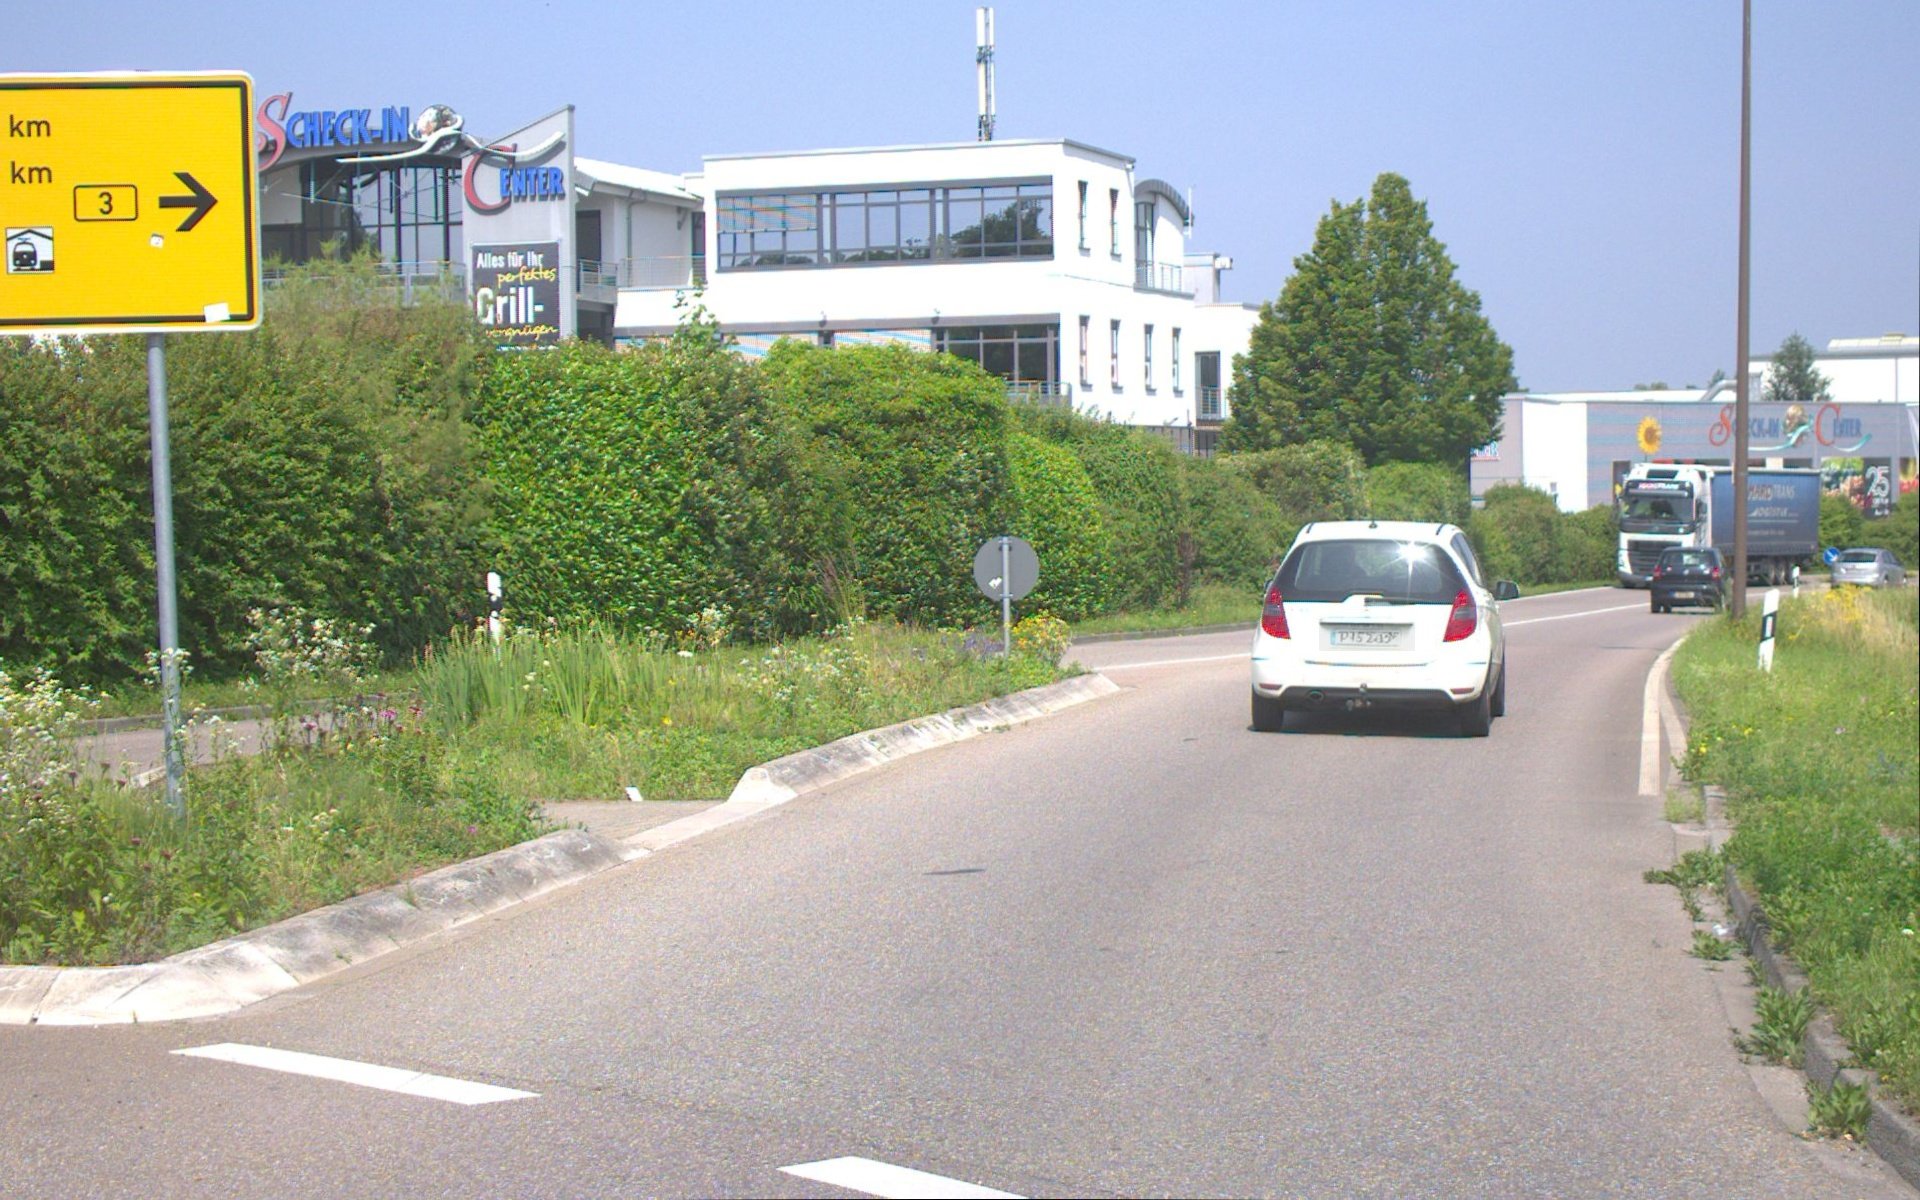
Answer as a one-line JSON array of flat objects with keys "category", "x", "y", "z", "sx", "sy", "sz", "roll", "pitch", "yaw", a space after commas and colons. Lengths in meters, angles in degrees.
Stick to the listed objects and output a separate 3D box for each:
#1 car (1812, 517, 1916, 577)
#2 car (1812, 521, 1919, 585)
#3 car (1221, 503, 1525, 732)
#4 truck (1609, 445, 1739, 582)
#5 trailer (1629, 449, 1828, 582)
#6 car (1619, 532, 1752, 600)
[{"category": "car", "x": 31.417, "y": -1.850, "z": 119.467, "sx": 1.998, "sy": 2.007, "sz": 3.991, "roll": 2, "pitch": 1, "yaw": 39}, {"category": "car", "x": 29.704, "y": -1.513, "z": 111.851, "sx": 3.989, "sy": 2.007, "sz": 1.999, "roll": 0, "pitch": 1, "yaw": -45}, {"category": "car", "x": 3.284, "y": 0.089, "z": 26.734, "sx": 1.782, "sy": 1.598, "sz": 3.890, "roll": 2, "pitch": 1, "yaw": 15}, {"category": "truck", "x": 22.985, "y": -2.735, "z": 110.495, "sx": 2.517, "sy": 4.243, "sz": 6.104, "roll": 0, "pitch": 1, "yaw": 27}, {"category": "trailer", "x": 26.240, "y": -2.770, "z": 116.674, "sx": 2.674, "sy": 4.226, "sz": 14.543, "roll": 2, "pitch": 1, "yaw": 28}, {"category": "car", "x": 16.572, "y": -0.771, "z": 78.416, "sx": 1.831, "sy": 1.465, "sz": 4.403, "roll": 2, "pitch": 1, "yaw": 27}]
